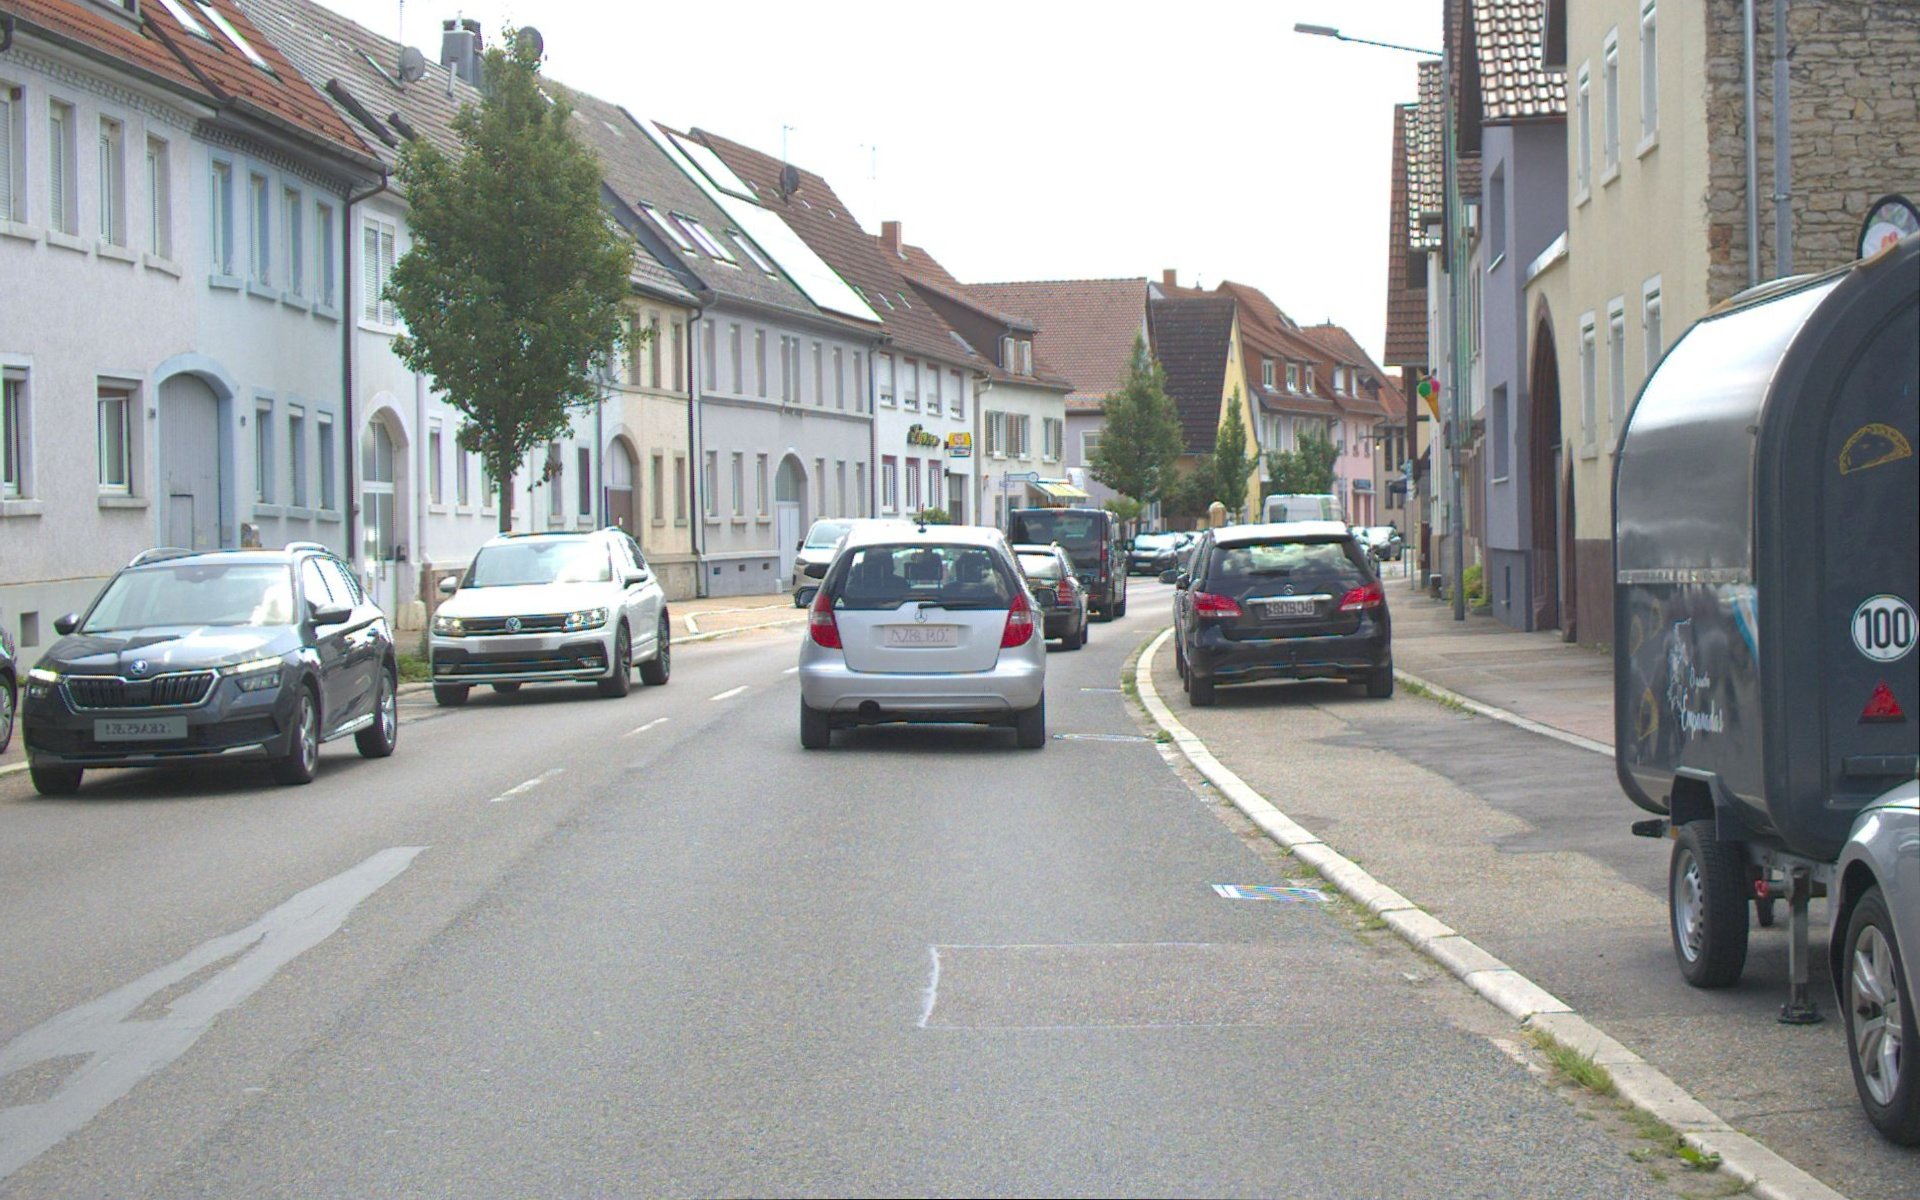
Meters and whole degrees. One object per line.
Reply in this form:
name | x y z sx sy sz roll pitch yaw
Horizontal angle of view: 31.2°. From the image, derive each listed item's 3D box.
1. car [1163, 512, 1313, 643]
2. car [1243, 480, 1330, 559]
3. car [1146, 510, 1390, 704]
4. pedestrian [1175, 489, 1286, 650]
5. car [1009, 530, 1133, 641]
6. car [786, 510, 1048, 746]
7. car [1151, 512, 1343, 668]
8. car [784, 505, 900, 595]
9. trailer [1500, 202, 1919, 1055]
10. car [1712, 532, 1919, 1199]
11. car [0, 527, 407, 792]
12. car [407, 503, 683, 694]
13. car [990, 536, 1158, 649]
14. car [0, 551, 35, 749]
car | 3.772 -0.312 46.176 1.861 1.620 4.196 -2 0 6
car | 9.666 -2.345 101.443 2.237 2.214 3.999 -2 0 9
car | 2.772 0.012 30.996 1.994 1.554 4.000 -2 1 5
pedestrian | 3.147 -0.359 39.809 1.095 1.815 1.469 -1 1 11
car | 2.028 -0.271 61.601 1.769 1.881 4.446 2 1 7
car | -0.372 0.171 25.736 1.769 1.589 4.000 1 1 -2
car | 3.026 -0.118 36.935 1.861 1.526 4.196 -2 0 3
car | -2.561 -1.115 75.475 2.092 1.877 4.000 -1 1 4
trailer | 3.094 0.018 11.317 1.844 2.346 3.590 -2 1 -3
car | 3.053 0.591 6.886 1.875 1.476 4.675 -2 1 -2
car | -4.947 0.322 22.880 1.743 1.521 4.019 -2 1 1
car | -4.068 -0.069 34.472 1.955 1.778 4.651 0 1 3
car | 1.580 -0.120 46.321 1.945 1.402 3.999 2 1 6
car | -8.033 0.405 24.268 1.804 1.455 4.158 0 1 1
